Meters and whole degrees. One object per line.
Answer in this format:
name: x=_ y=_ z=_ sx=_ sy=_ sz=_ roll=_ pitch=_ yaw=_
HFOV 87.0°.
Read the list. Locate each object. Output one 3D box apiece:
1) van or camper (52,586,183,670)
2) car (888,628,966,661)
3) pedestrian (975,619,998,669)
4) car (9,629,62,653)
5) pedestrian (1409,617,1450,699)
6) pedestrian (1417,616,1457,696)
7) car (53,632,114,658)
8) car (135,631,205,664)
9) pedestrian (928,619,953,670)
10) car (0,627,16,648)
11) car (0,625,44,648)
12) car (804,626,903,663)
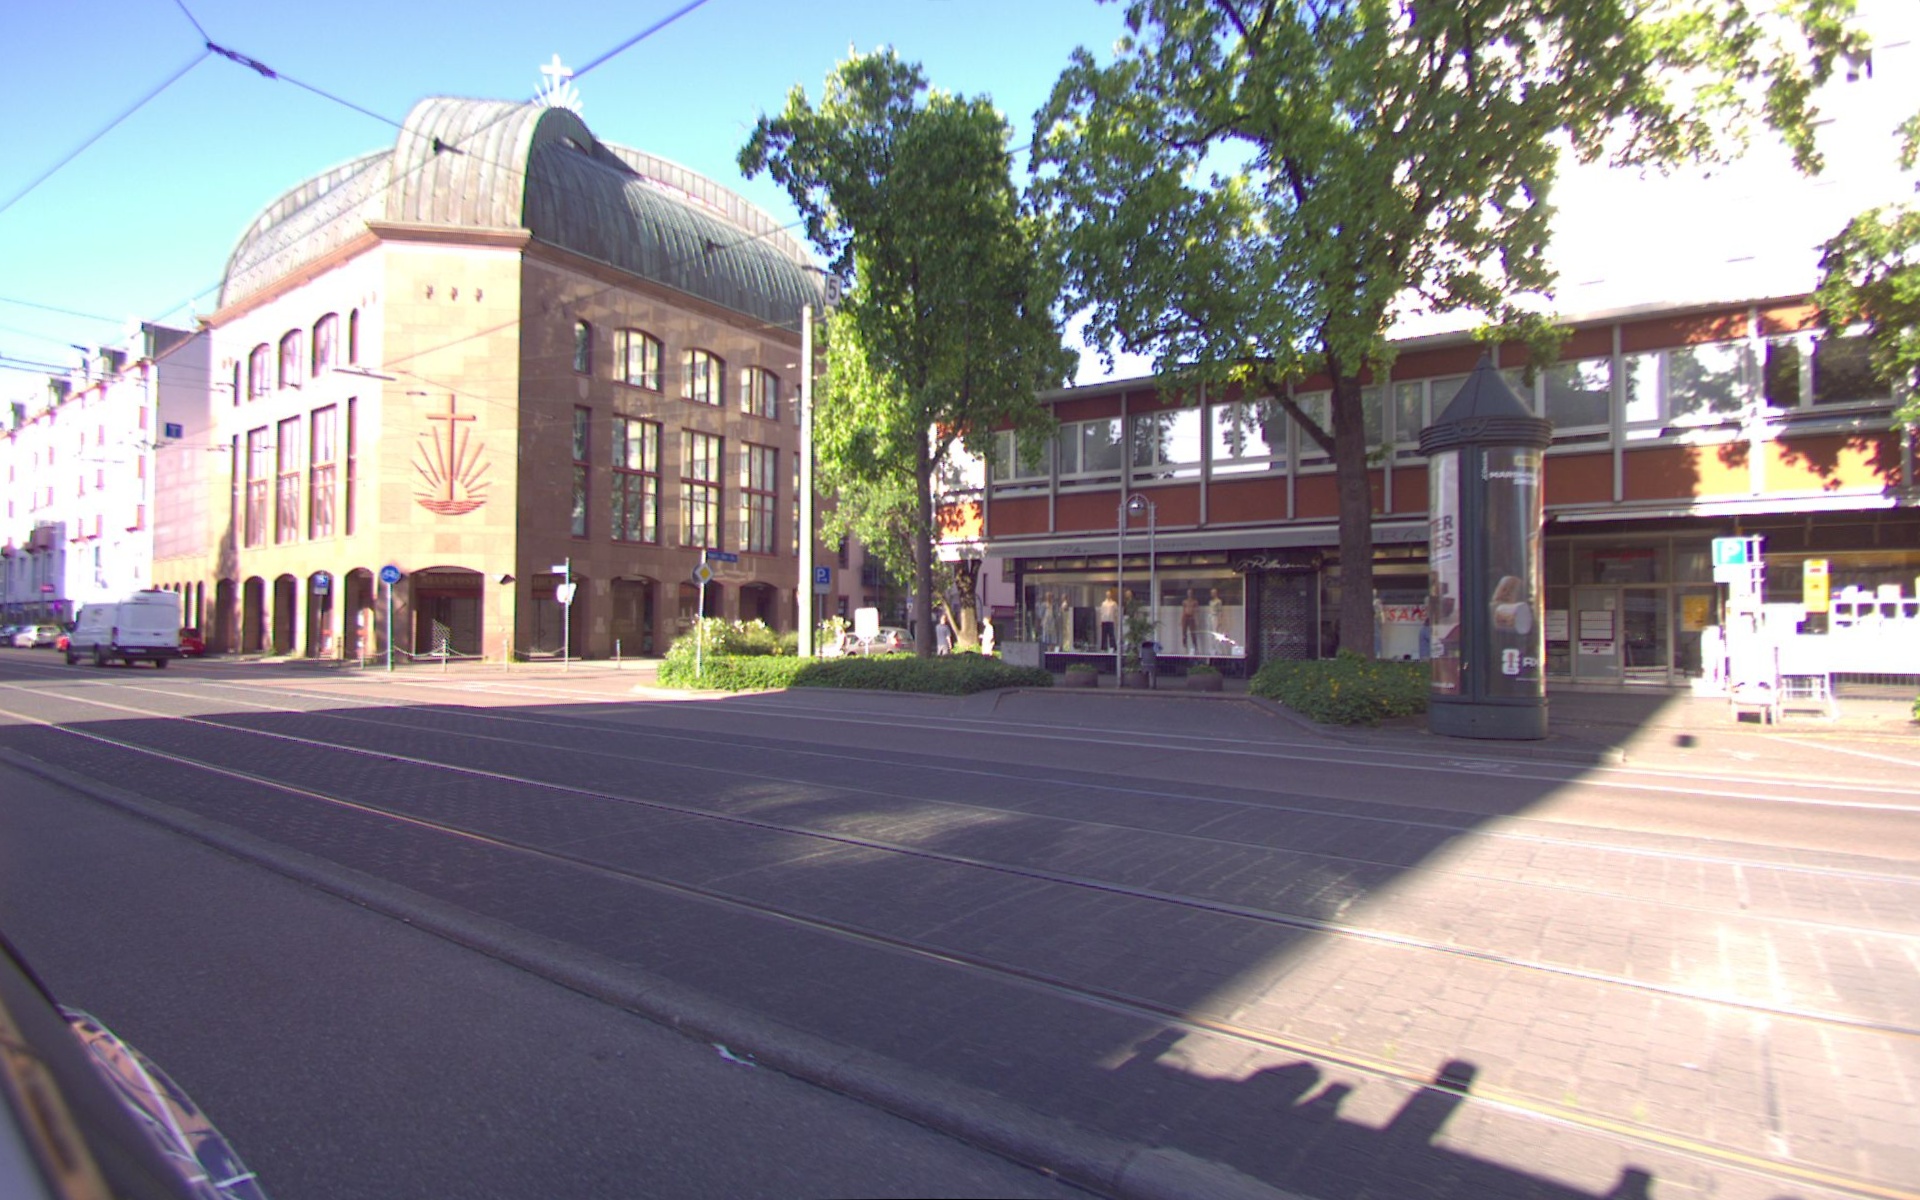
van or camper: x=-30.295 y=1.029 z=36.307 sx=7.009 sy=2.760 sz=2.017 roll=-1 pitch=-3 yaw=37
car: x=-1.573 y=2.197 z=50.280 sx=1.991 sy=1.542 sz=4.233 roll=-1 pitch=-3 yaw=29
pedestrian: x=0.861 y=1.444 z=32.973 sx=0.439 sy=1.604 sz=0.724 roll=2 pitch=-3 yaw=-27
car: x=-57.980 y=2.539 z=63.474 sx=3.847 sy=1.465 sz=1.834 roll=-1 pitch=-2 yaw=38
pedestrian: x=10.376 y=1.271 z=22.365 sx=0.705 sy=1.785 sz=0.567 roll=-1 pitch=-3 yaw=39
pedestrian: x=10.763 y=1.259 z=22.837 sx=0.705 sy=1.764 sz=0.567 roll=-1 pitch=-3 yaw=39
car: x=-48.989 y=2.475 z=56.537 sx=3.847 sy=1.364 sz=1.834 roll=-1 pitch=-2 yaw=38
car: x=-37.330 y=2.209 z=47.809 sx=3.464 sy=1.465 sz=1.733 roll=-1 pitch=-2 yaw=36
pedestrian: x=-0.623 y=1.426 z=32.375 sx=0.440 sy=1.604 sz=0.722 roll=3 pitch=-3 yaw=-43
car: x=-67.741 y=2.604 z=70.804 sx=3.847 sy=1.465 sz=1.834 roll=-1 pitch=-2 yaw=38
car: x=-61.792 y=2.357 z=66.445 sx=3.847 sy=1.465 sz=1.834 roll=-1 pitch=-2 yaw=38
car: x=-4.619 y=1.939 z=44.308 sx=1.997 sy=1.542 sz=4.222 roll=-1 pitch=-3 yaw=37
